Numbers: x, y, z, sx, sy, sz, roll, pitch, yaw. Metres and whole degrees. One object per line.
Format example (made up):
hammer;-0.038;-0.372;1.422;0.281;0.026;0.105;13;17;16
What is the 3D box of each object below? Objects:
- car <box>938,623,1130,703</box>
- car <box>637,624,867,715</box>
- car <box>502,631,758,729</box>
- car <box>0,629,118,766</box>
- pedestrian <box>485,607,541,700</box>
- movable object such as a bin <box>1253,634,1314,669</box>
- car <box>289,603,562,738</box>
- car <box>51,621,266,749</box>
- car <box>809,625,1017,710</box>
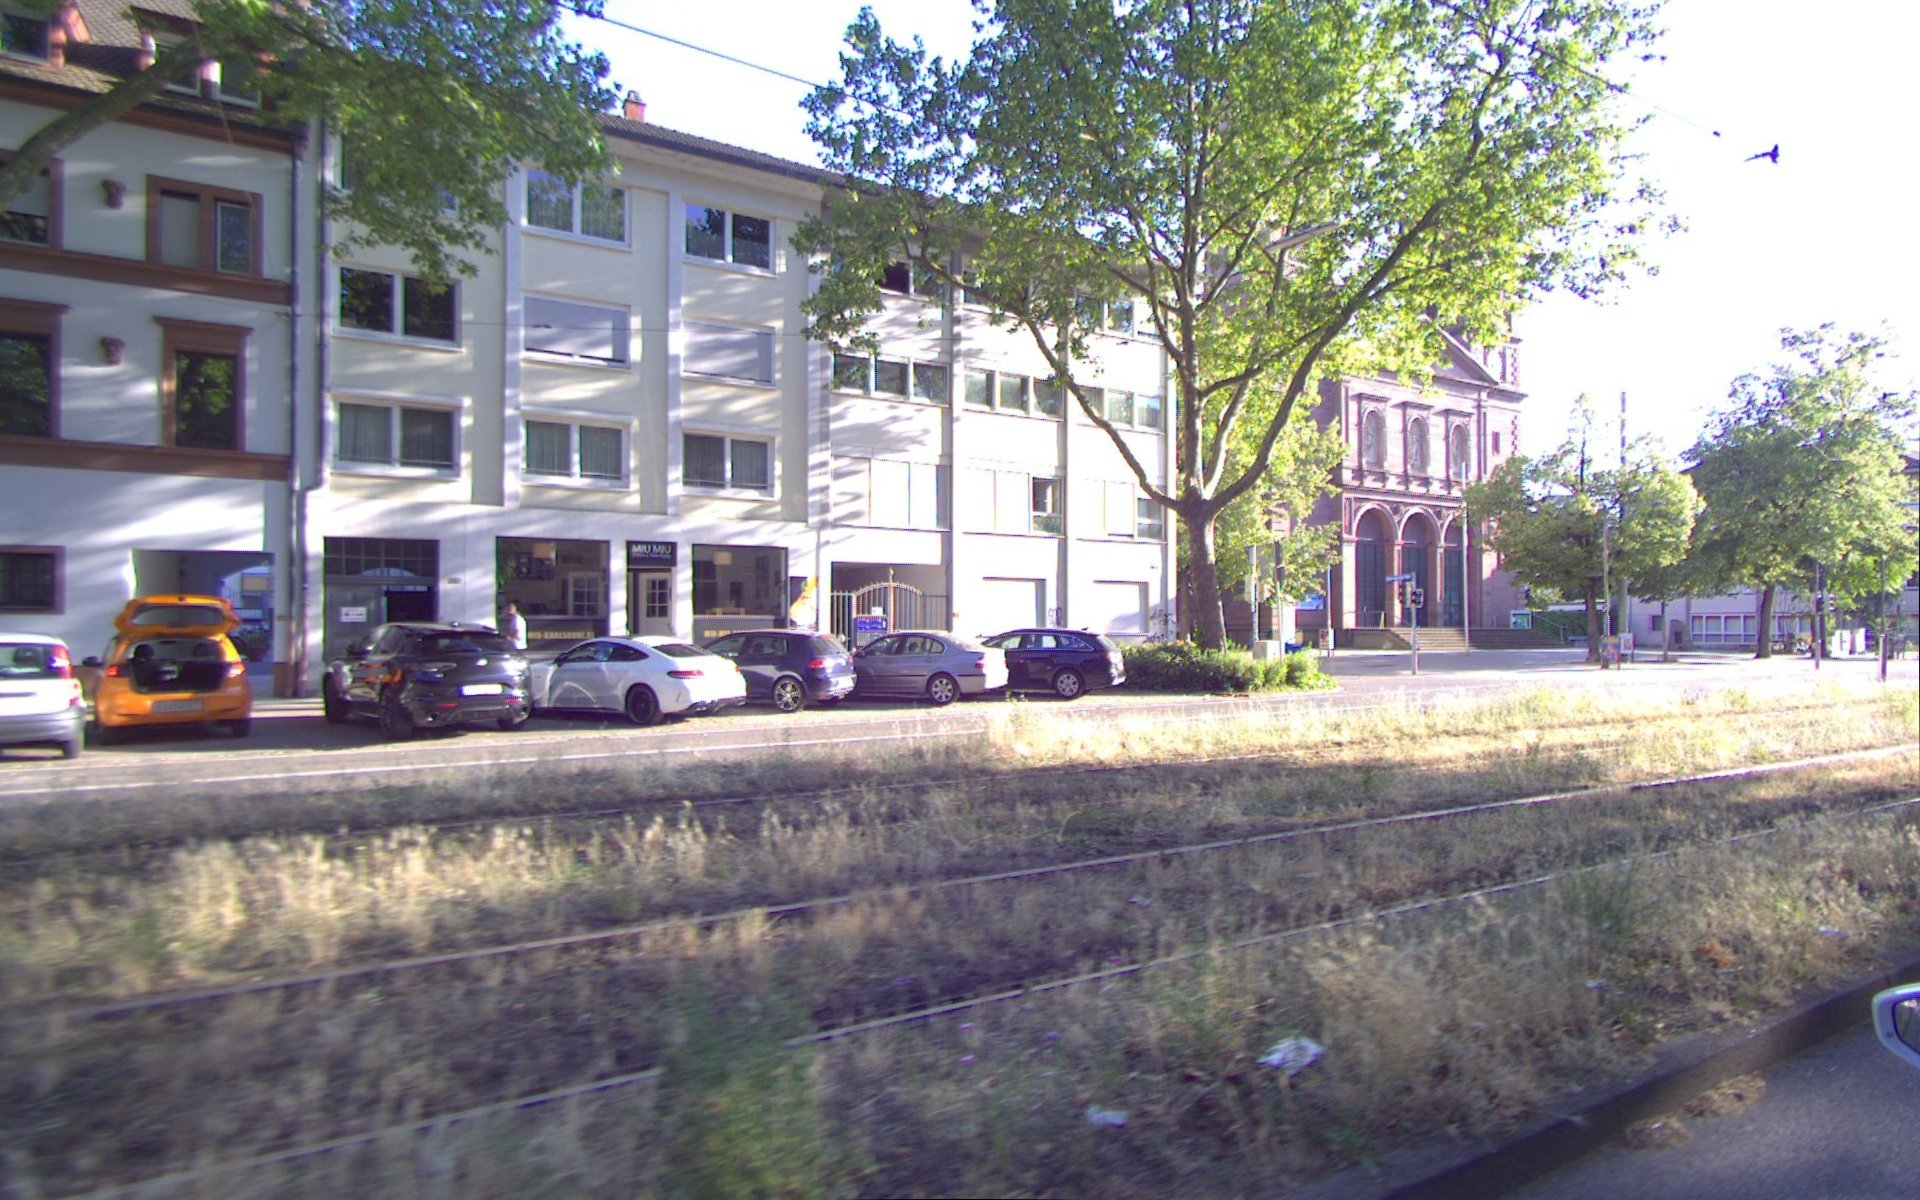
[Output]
car;1.675;1.341;22.329;3.920;1.499;1.818;1;0;18
car;-3.968;1.260;19.256;3.920;1.460;1.802;1;0;18
car;-5.708;1.298;17.335;4.125;1.351;1.721;1;0;25
car;-12.500;1.148;12.761;4.290;1.468;1.654;0;-1;34
pedestrian;-9.553;1.127;21.460;0.941;1.925;0.894;1;-1;-33
movable object such as a bin;13.569;2.135;42.100;2.416;1.228;1.102;-3;2;-29
car;-8.315;1.081;15.525;4.292;1.809;1.988;-3;-4;35
car;-11.883;1.129;14.807;3.940;1.499;1.769;2;0;41
car;-0.957;1.328;20.725;3.921;1.460;1.722;1;0;20
